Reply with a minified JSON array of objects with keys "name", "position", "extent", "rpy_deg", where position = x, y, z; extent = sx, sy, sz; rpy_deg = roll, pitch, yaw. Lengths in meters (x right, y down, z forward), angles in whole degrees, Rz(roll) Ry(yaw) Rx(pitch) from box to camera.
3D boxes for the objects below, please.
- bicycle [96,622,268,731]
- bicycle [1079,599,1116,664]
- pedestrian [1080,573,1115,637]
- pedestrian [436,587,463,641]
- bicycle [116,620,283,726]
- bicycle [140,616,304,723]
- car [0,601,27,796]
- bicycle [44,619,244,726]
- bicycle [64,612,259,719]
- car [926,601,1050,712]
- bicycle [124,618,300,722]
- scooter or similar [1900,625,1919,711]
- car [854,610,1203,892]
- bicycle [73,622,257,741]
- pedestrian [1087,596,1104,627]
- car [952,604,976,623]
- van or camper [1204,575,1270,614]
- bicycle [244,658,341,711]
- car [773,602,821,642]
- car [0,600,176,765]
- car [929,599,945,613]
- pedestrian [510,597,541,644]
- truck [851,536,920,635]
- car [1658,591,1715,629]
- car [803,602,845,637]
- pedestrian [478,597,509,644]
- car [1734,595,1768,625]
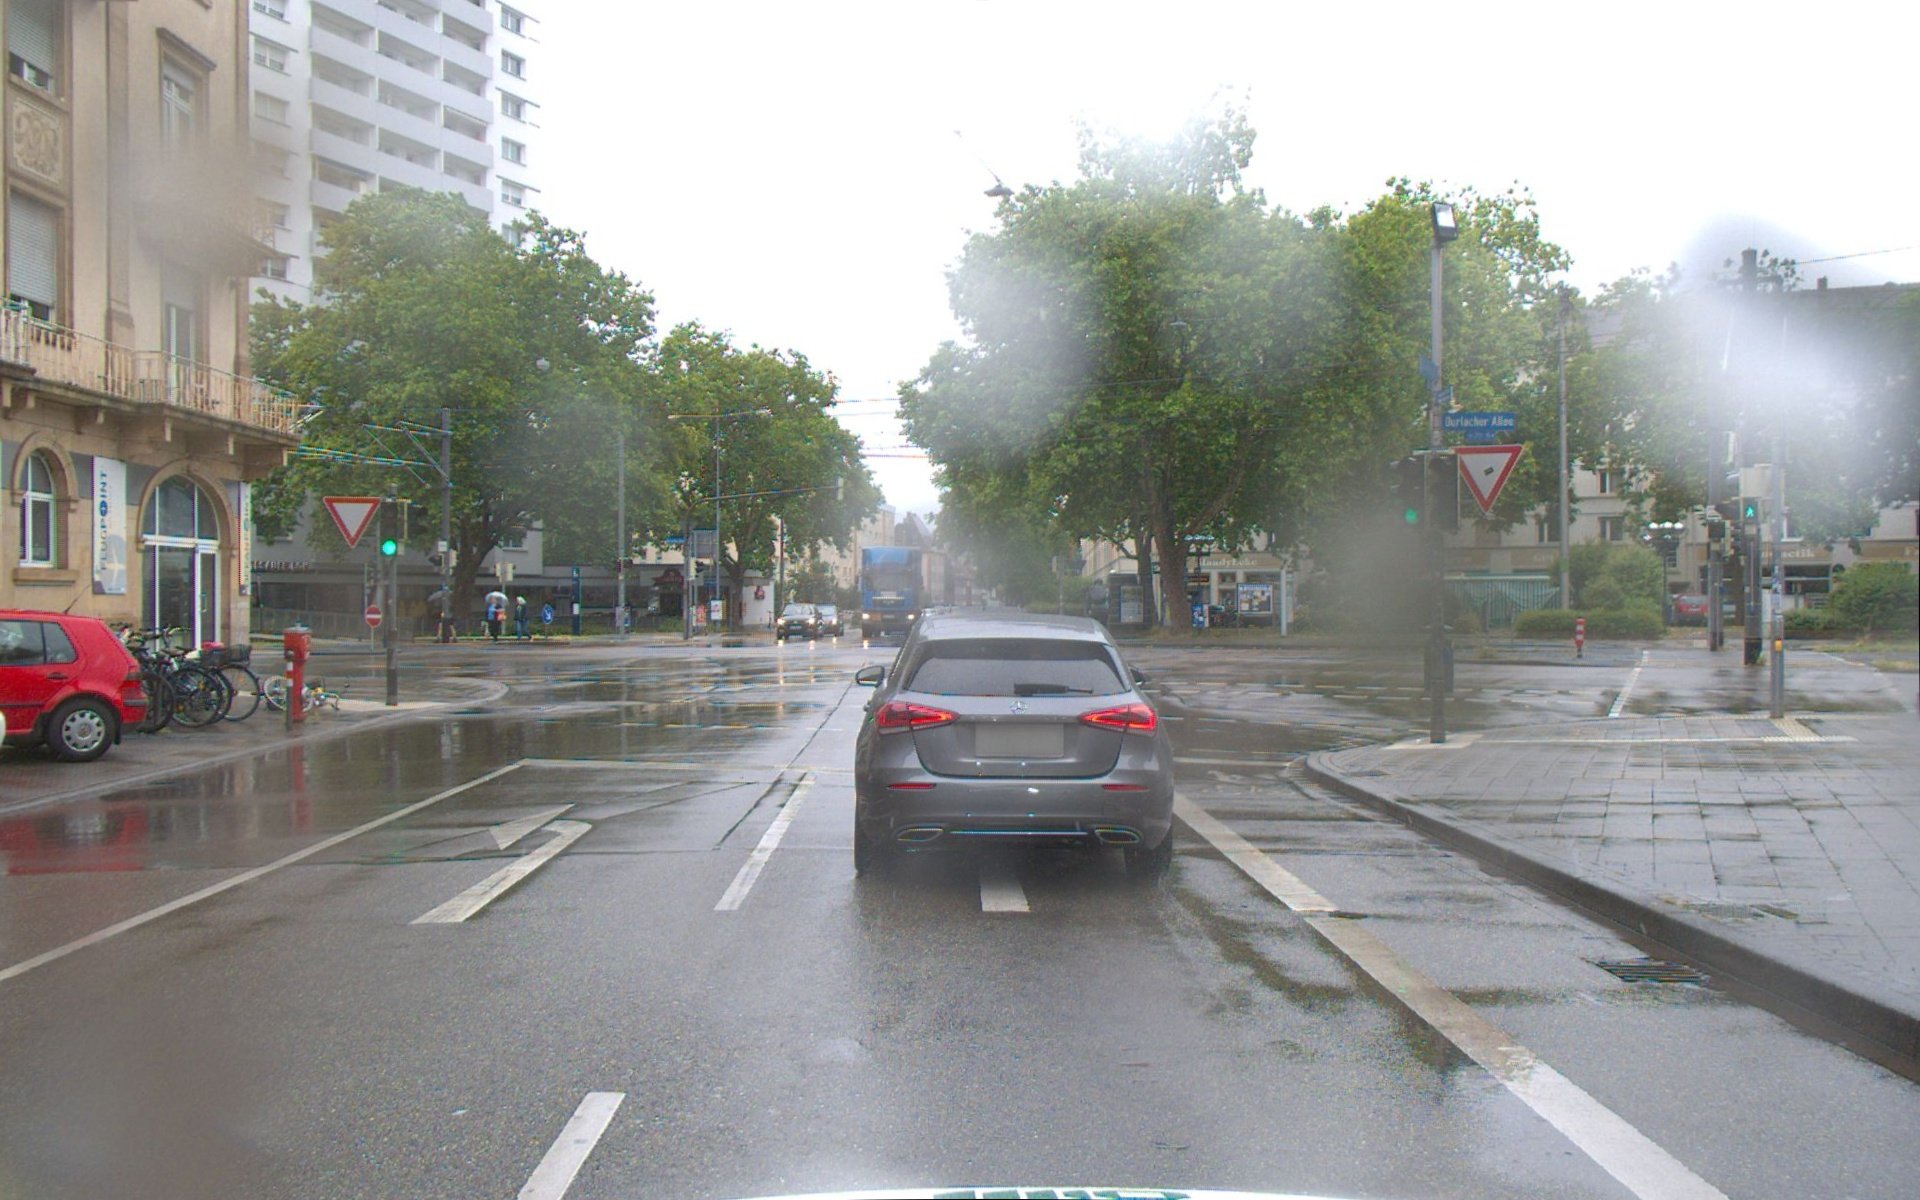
[{"name":"bicycle","position":[-9.415,0.920,20.046],"extent":[1.774,1.205,0.475],"rpy_deg":[3,-1,-3]},{"name":"bicycle","position":[3.120,0.677,37.309],"extent":[0.733,1.401,2.709],"rpy_deg":[-1,0,6]},{"name":"pedestrian","position":[3.115,0.110,37.409],"extent":[0.728,1.422,1.048],"rpy_deg":[-1,0,6]},{"name":"pedestrian","position":[-18.080,0.492,58.602],"extent":[0.674,1.870,0.630],"rpy_deg":[-1,-1,-43]},{"name":"bicycle","position":[-9.434,0.902,20.552],"extent":[1.774,1.205,0.468],"rpy_deg":[3,-1,-3]},{"name":"bicycle","position":[-9.618,0.902,21.579],"extent":[1.935,1.353,0.438],"rpy_deg":[-1,0,1]},{"name":"car","position":[-9.680,0.766,12.889],"extent":[3.957,1.560,1.679],"rpy_deg":[1,0,-41]},{"name":"bicycle","position":[-10.863,0.953,22.075],"extent":[2.295,1.370,0.639],"rpy_deg":[-1,0,-6]},{"name":"bicycle","position":[-10.946,0.883,22.726],"extent":[2.295,1.369,0.639],"rpy_deg":[-2,0,-6]},{"name":"car","position":[0.333,0.731,23.275],"extent":[1.574,1.396,3.999],"rpy_deg":[-1,0,-1]},{"name":"bicycle","position":[-9.521,0.889,21.090],"extent":[1.941,1.205,0.474],"rpy_deg":[3,-1,-4]},{"name":"scooter or similar","position":[12.240,0.852,20.637],"extent":[0.502,1.067,0.924],"rpy_deg":[-1,0,2]},{"name":"car","position":[0.328,0.778,10.144],"extent":[1.755,1.396,3.506],"rpy_deg":[1,0,-1]},{"name":"bicycle","position":[-9.089,0.920,18.930],"extent":[1.772,1.205,0.601],"rpy_deg":[4,0,5]},{"name":"pedestrian","position":[7.579,0.635,92.448],"extent":[0.654,1.698,0.713],"rpy_deg":[0,-1,-24]},{"name":"car","position":[0.332,1.135,140.932],"extent":[1.953,1.601,3.998],"rpy_deg":[-1,-1,-2]},{"name":"van or camper","position":[16.641,-0.293,99.142],"extent":[2.349,2.270,5.424],"rpy_deg":[-1,-1,27]},{"name":"bicycle","position":[-9.375,1.180,23.215],"extent":[1.029,0.675,1.462],"rpy_deg":[2,-1,-31]},{"name":"car","position":[-6.832,0.913,69.494],"extent":[1.708,1.573,3.777],"rpy_deg":[-1,0,-1]},{"name":"car","position":[-9.896,0.765,15.846],"extent":[3.968,1.534,1.775],"rpy_deg":[1,0,-43]},{"name":"car","position":[-3.012,0.780,216.644],"extent":[1.850,1.868,4.001],"rpy_deg":[-1,-1,3]},{"name":"pedestrian","position":[-15.883,0.758,60.448],"extent":[0.817,1.677,0.756],"rpy_deg":[-2,0,14]},{"name":"truck","position":[-3.229,-0.581,74.494],"extent":[2.788,4.096,10.313],"rpy_deg":[-1,0,-1]},{"name":"car","position":[31.388,0.432,71.541],"extent":[1.627,1.548,3.682],"rpy_deg":[-1,-1,14]},{"name":"car","position":[-6.388,0.895,78.262],"extent":[1.691,1.573,4.339],"rpy_deg":[-1,0,-1]},{"name":"pedestrian","position":[-17.254,0.752,61.200],"extent":[0.774,1.677,0.817],"rpy_deg":[-2,0,14]},{"name":"car","position":[42.225,0.551,88.334],"extent":[1.518,1.492,3.365],"rpy_deg":[-1,-3,24]}]
